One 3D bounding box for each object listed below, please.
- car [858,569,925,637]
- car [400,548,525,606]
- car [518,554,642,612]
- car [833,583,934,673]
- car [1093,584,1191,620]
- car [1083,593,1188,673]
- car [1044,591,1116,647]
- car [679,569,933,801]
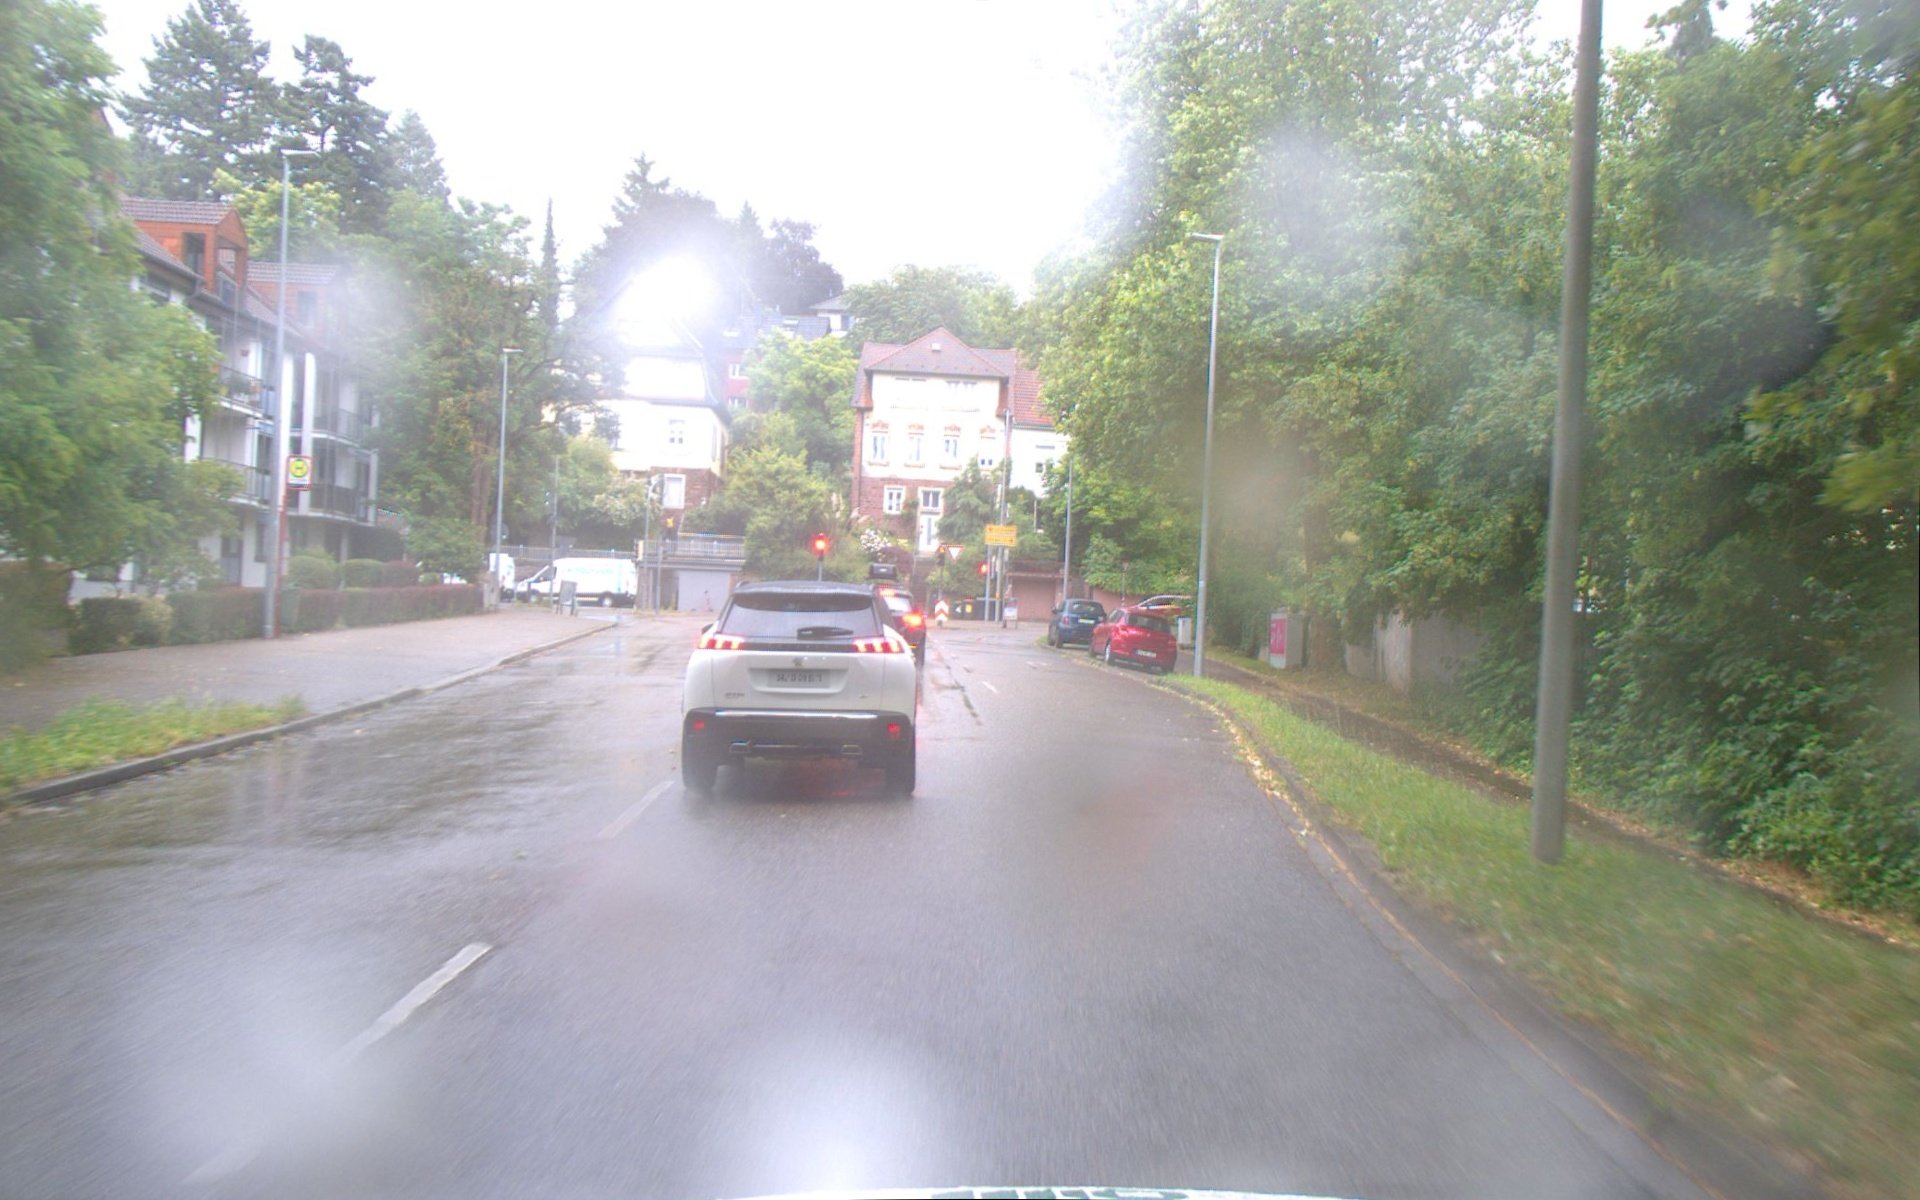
[{"bbox_3d":[-2.021,0.037,47.628,1.726,1.740,4.598,4,1,-4],"label":"car"},{"bbox_3d":[-24.979,-1.141,83.197,5.450,2.537,2.315,3,-1,-1],"label":"car"},{"bbox_3d":[-19.084,-0.823,83.220,5.546,2.537,2.315,3,-1,-1],"label":"car"},{"bbox_3d":[-1.546,0.506,33.731,1.795,1.481,4.657,5,1,-2],"label":"car"},{"bbox_3d":[8.779,0.103,79.927,4.475,1.629,1.774,1,-1,-1],"label":"car"},{"bbox_3d":[4.415,0.795,42.082,1.786,1.542,3.740,10,1,-5],"label":"car"},{"bbox_3d":[3.706,0.572,51.598,1.715,1.517,3.598,5,0,-3],"label":"car"},{"bbox_3d":[-1.157,0.579,13.630,1.717,1.562,4.365,2,0,-3],"label":"car"}]
